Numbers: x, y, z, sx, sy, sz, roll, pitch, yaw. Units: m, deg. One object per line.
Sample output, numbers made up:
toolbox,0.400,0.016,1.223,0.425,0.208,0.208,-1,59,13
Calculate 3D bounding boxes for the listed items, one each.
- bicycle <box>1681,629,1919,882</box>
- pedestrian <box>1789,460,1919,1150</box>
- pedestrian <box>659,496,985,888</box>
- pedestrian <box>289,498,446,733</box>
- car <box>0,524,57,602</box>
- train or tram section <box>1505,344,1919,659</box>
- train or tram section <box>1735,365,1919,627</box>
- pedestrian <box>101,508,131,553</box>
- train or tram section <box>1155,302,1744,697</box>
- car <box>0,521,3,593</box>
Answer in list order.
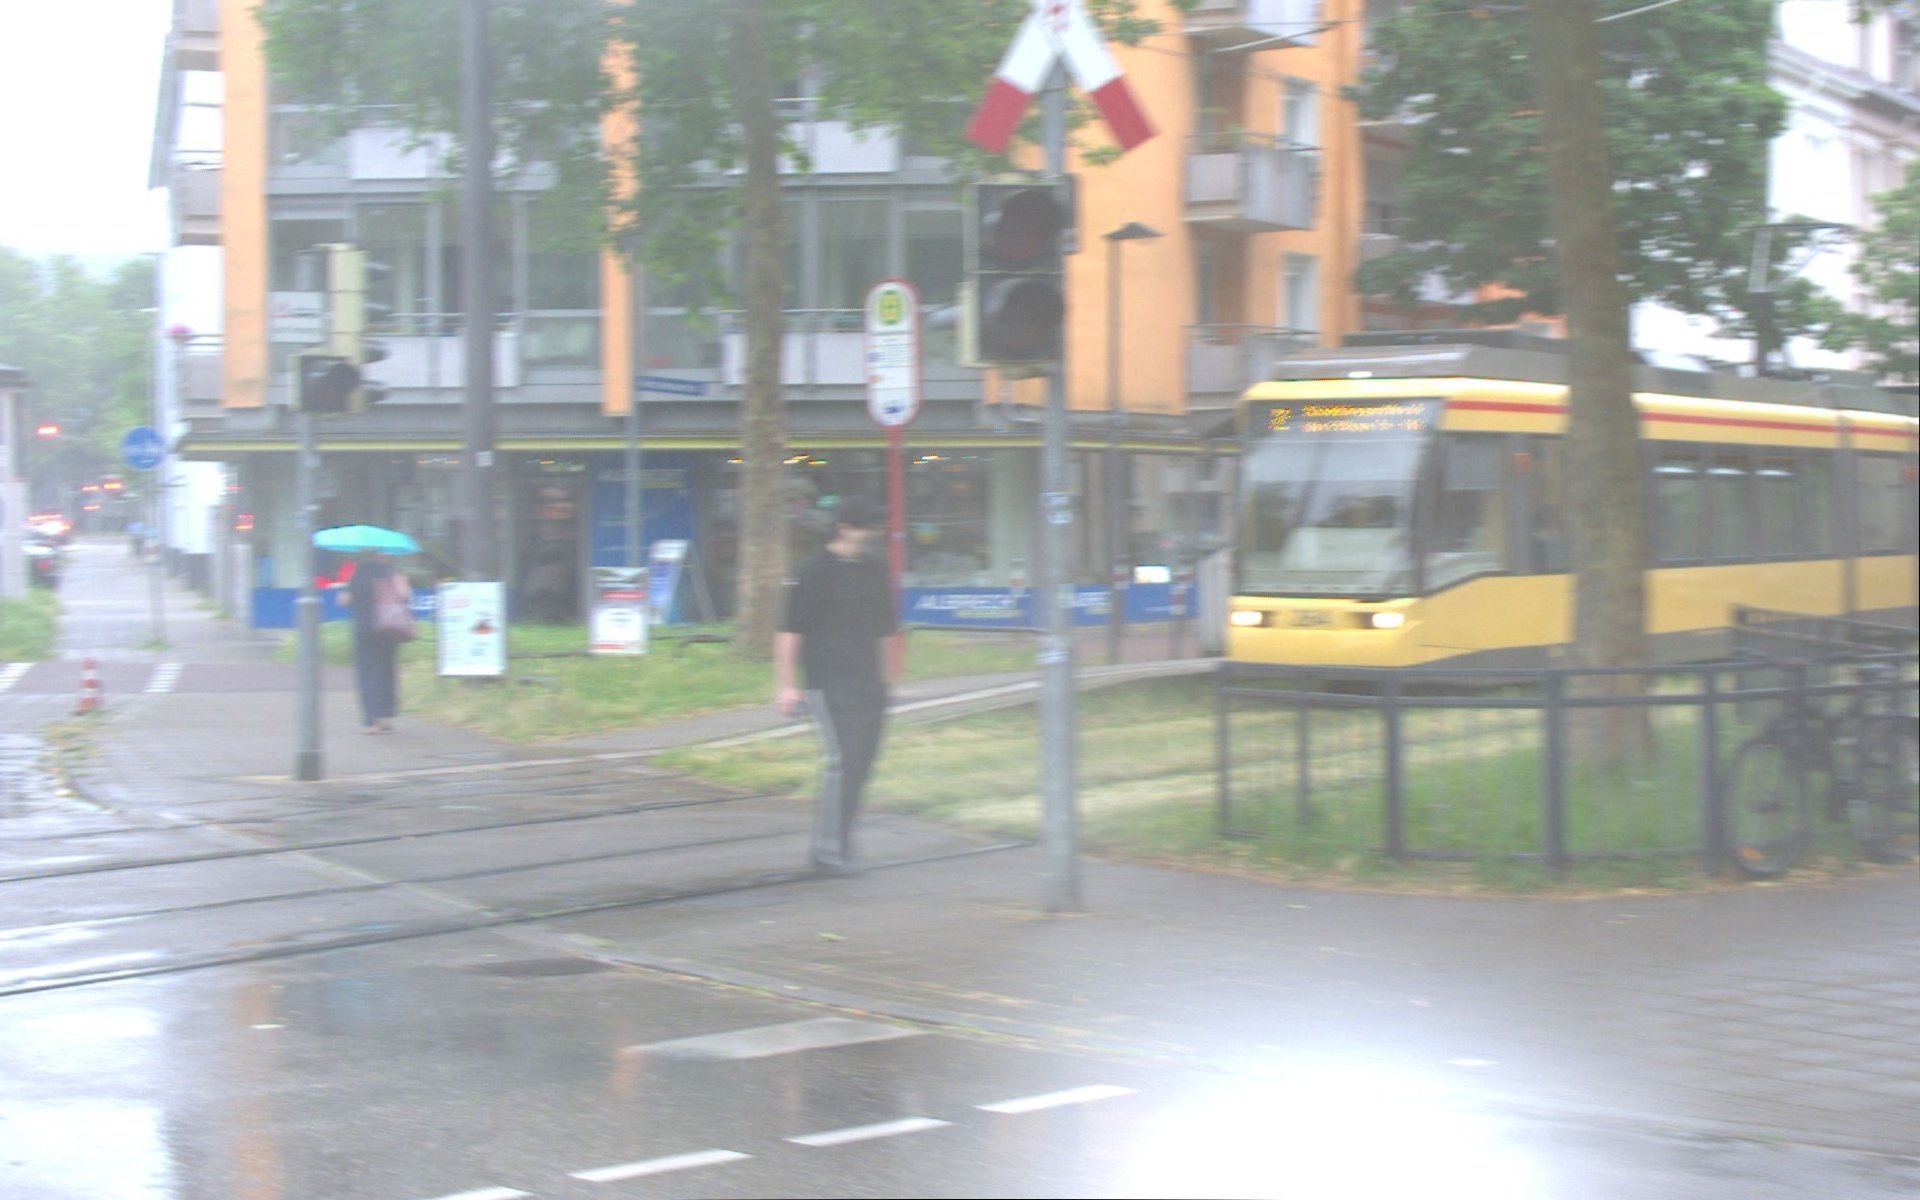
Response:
bicycle,4.035,0.693,15.890,1.614,1.073,0.446,-1,2,-39
pedestrian,2.816,0.487,8.575,1.052,1.680,0.996,-2,2,-31
pedestrian,-0.669,0.398,16.430,1.035,1.782,1.236,-1,2,-38
pedestrian,-4.856,0.103,28.097,1.170,1.858,1.386,0,2,-14
car,-19.632,-0.693,65.692,4.532,1.465,1.984,-1,1,-14
train or tram section,9.236,-1.154,40.734,2.642,3.339,8.363,1,2,30
train or tram section,13.797,-1.449,48.678,2.642,3.339,9.971,1,2,30
pedestrian,-33.988,-2.791,138.383,1.062,1.804,1.094,0,1,-8
train or tram section,5.019,-0.968,33.518,2.642,3.358,8.362,1,2,31
car,-22.828,-0.918,74.164,4.188,1.563,1.889,-1,1,-16
